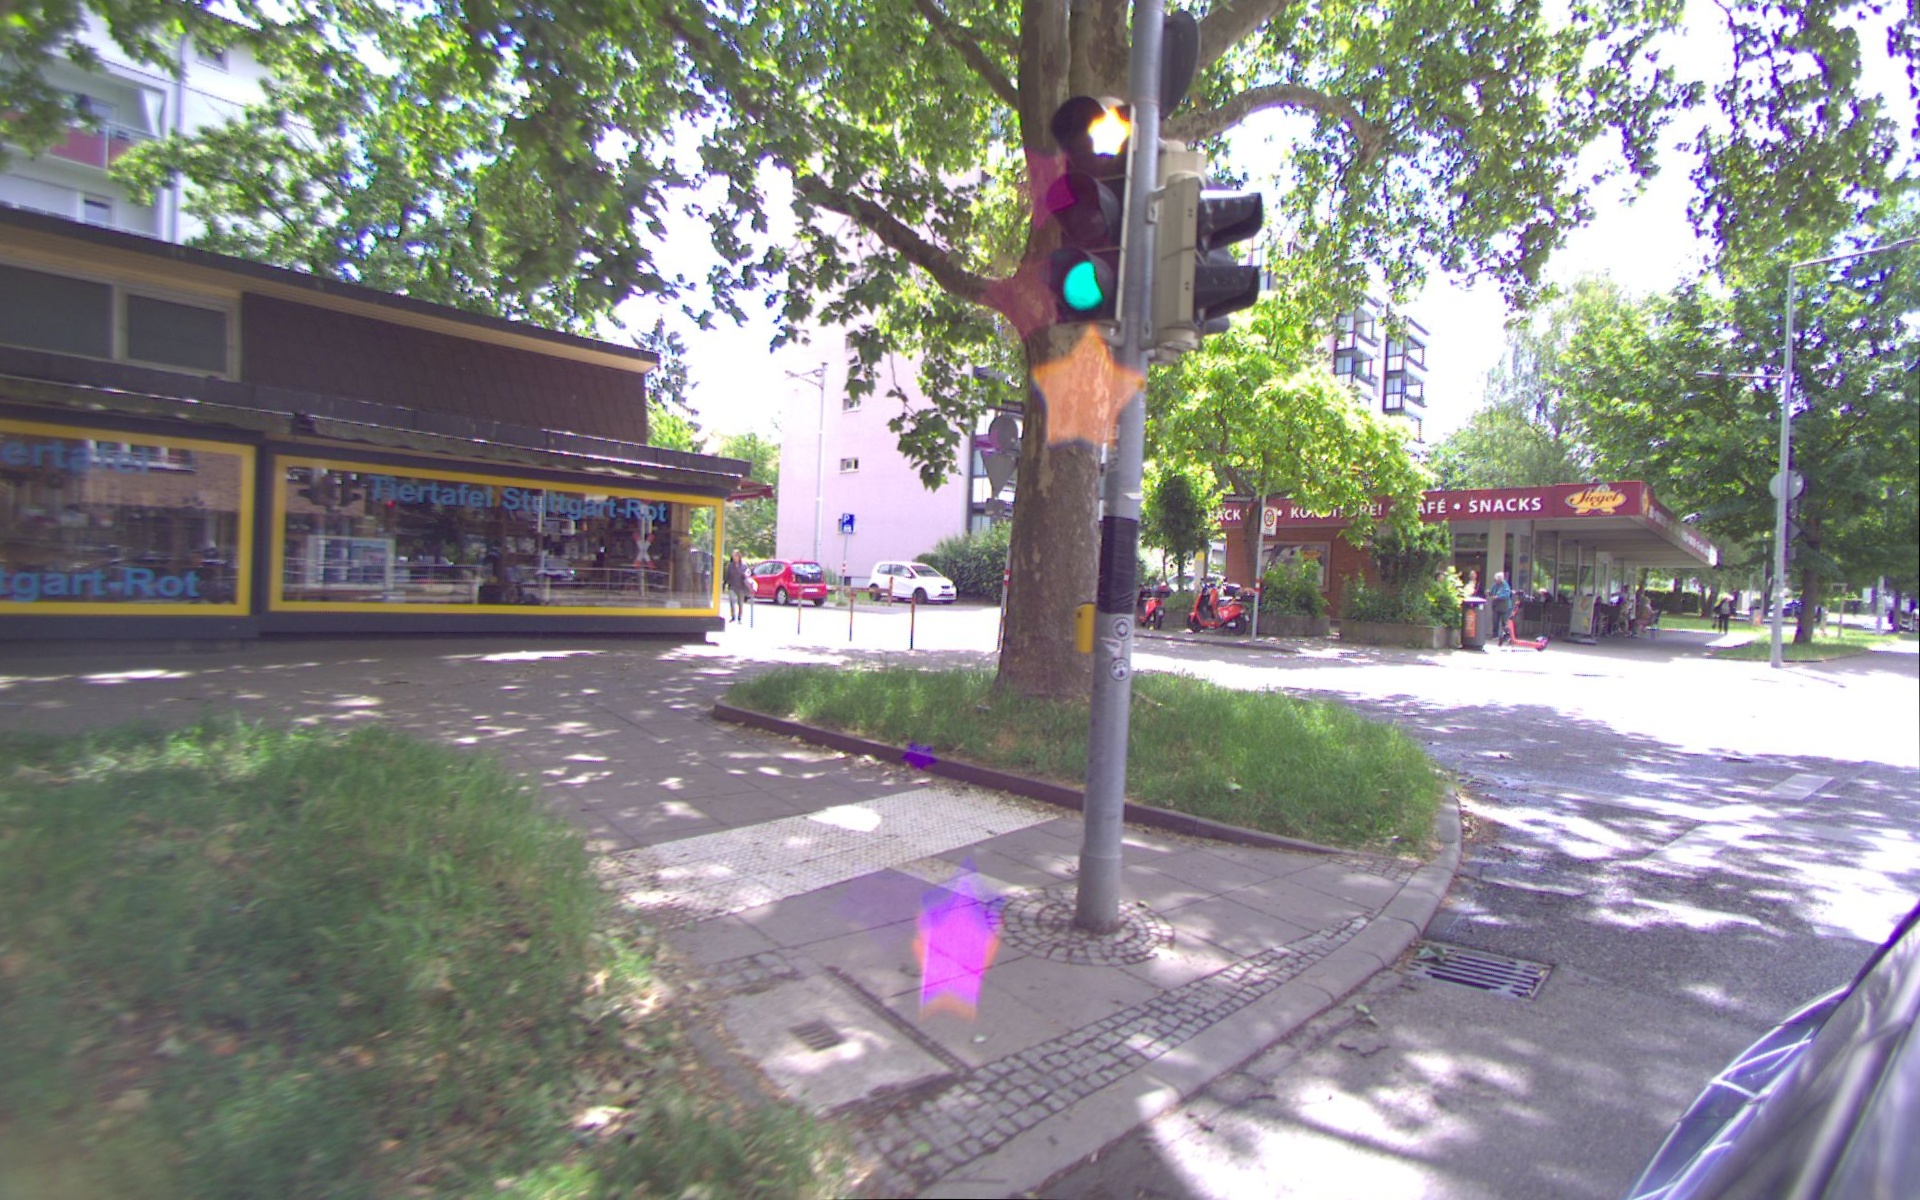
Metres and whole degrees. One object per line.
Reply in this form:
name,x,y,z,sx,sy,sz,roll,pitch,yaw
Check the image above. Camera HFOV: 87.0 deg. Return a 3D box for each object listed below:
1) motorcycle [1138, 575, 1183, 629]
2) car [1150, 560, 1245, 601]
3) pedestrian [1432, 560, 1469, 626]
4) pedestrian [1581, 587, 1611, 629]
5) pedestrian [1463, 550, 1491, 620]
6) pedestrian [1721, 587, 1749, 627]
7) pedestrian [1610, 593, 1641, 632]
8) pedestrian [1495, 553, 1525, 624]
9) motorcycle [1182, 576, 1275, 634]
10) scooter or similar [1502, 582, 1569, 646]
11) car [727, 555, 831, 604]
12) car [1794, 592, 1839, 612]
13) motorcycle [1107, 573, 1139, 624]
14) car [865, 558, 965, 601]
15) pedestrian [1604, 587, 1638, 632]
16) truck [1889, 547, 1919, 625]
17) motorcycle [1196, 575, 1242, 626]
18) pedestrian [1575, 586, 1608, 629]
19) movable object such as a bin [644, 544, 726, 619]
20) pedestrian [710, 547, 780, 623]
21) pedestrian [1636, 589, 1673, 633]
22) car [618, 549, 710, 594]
motorcycle,4.932,0.017,25.076,0.726,1.209,2.138,2,2,2
car,8.313,-0.671,35.328,1.743,1.358,3.435,3,2,43
pedestrian,11.746,-0.173,24.244,0.522,1.570,0.512,1,1,-9
pedestrian,20.534,0.238,32.677,0.671,1.282,0.668,6,4,40
pedestrian,12.315,-0.358,24.108,0.436,1.652,0.399,2,1,9
pedestrian,31.126,0.280,40.647,0.643,1.557,0.725,0,2,-44
pedestrian,21.132,0.390,32.145,0.671,1.165,0.668,6,4,40
pedestrian,12.941,-0.271,23.822,0.436,1.652,0.399,2,1,9
motorcycle,6.168,0.092,23.385,0.725,1.210,2.141,1,2,-30
scooter or similar,12.170,0.293,21.418,1.206,1.323,0.378,1,1,-8
car,-5.977,-0.690,33.224,3.479,1.456,1.613,3,2,43
car,65.238,0.103,77.108,1.793,1.370,3.960,3,2,29
motorcycle,4.191,-0.062,26.014,0.728,1.209,2.133,2,3,9
car,-1.686,-0.782,37.247,3.479,1.456,1.722,3,2,43
pedestrian,20.098,0.289,30.778,0.671,1.282,0.814,6,1,40
truck,52.763,-0.701,54.194,2.612,4.143,9.498,3,2,32
motorcycle,6.669,-0.017,26.192,0.726,1.210,2.137,2,2,4
pedestrian,19.666,0.228,31.522,0.675,1.282,0.664,6,4,42
movable object such as a bin,-5.659,-0.373,20.825,1.125,1.430,1.183,3,1,-44
pedestrian,-4.531,-0.313,21.366,1.083,1.494,0.808,5,-1,-45
pedestrian,21.236,0.337,30.955,0.661,1.282,0.678,0,3,-36
car,-11.261,-1.113,38.358,3.833,1.571,1.615,4,3,43
